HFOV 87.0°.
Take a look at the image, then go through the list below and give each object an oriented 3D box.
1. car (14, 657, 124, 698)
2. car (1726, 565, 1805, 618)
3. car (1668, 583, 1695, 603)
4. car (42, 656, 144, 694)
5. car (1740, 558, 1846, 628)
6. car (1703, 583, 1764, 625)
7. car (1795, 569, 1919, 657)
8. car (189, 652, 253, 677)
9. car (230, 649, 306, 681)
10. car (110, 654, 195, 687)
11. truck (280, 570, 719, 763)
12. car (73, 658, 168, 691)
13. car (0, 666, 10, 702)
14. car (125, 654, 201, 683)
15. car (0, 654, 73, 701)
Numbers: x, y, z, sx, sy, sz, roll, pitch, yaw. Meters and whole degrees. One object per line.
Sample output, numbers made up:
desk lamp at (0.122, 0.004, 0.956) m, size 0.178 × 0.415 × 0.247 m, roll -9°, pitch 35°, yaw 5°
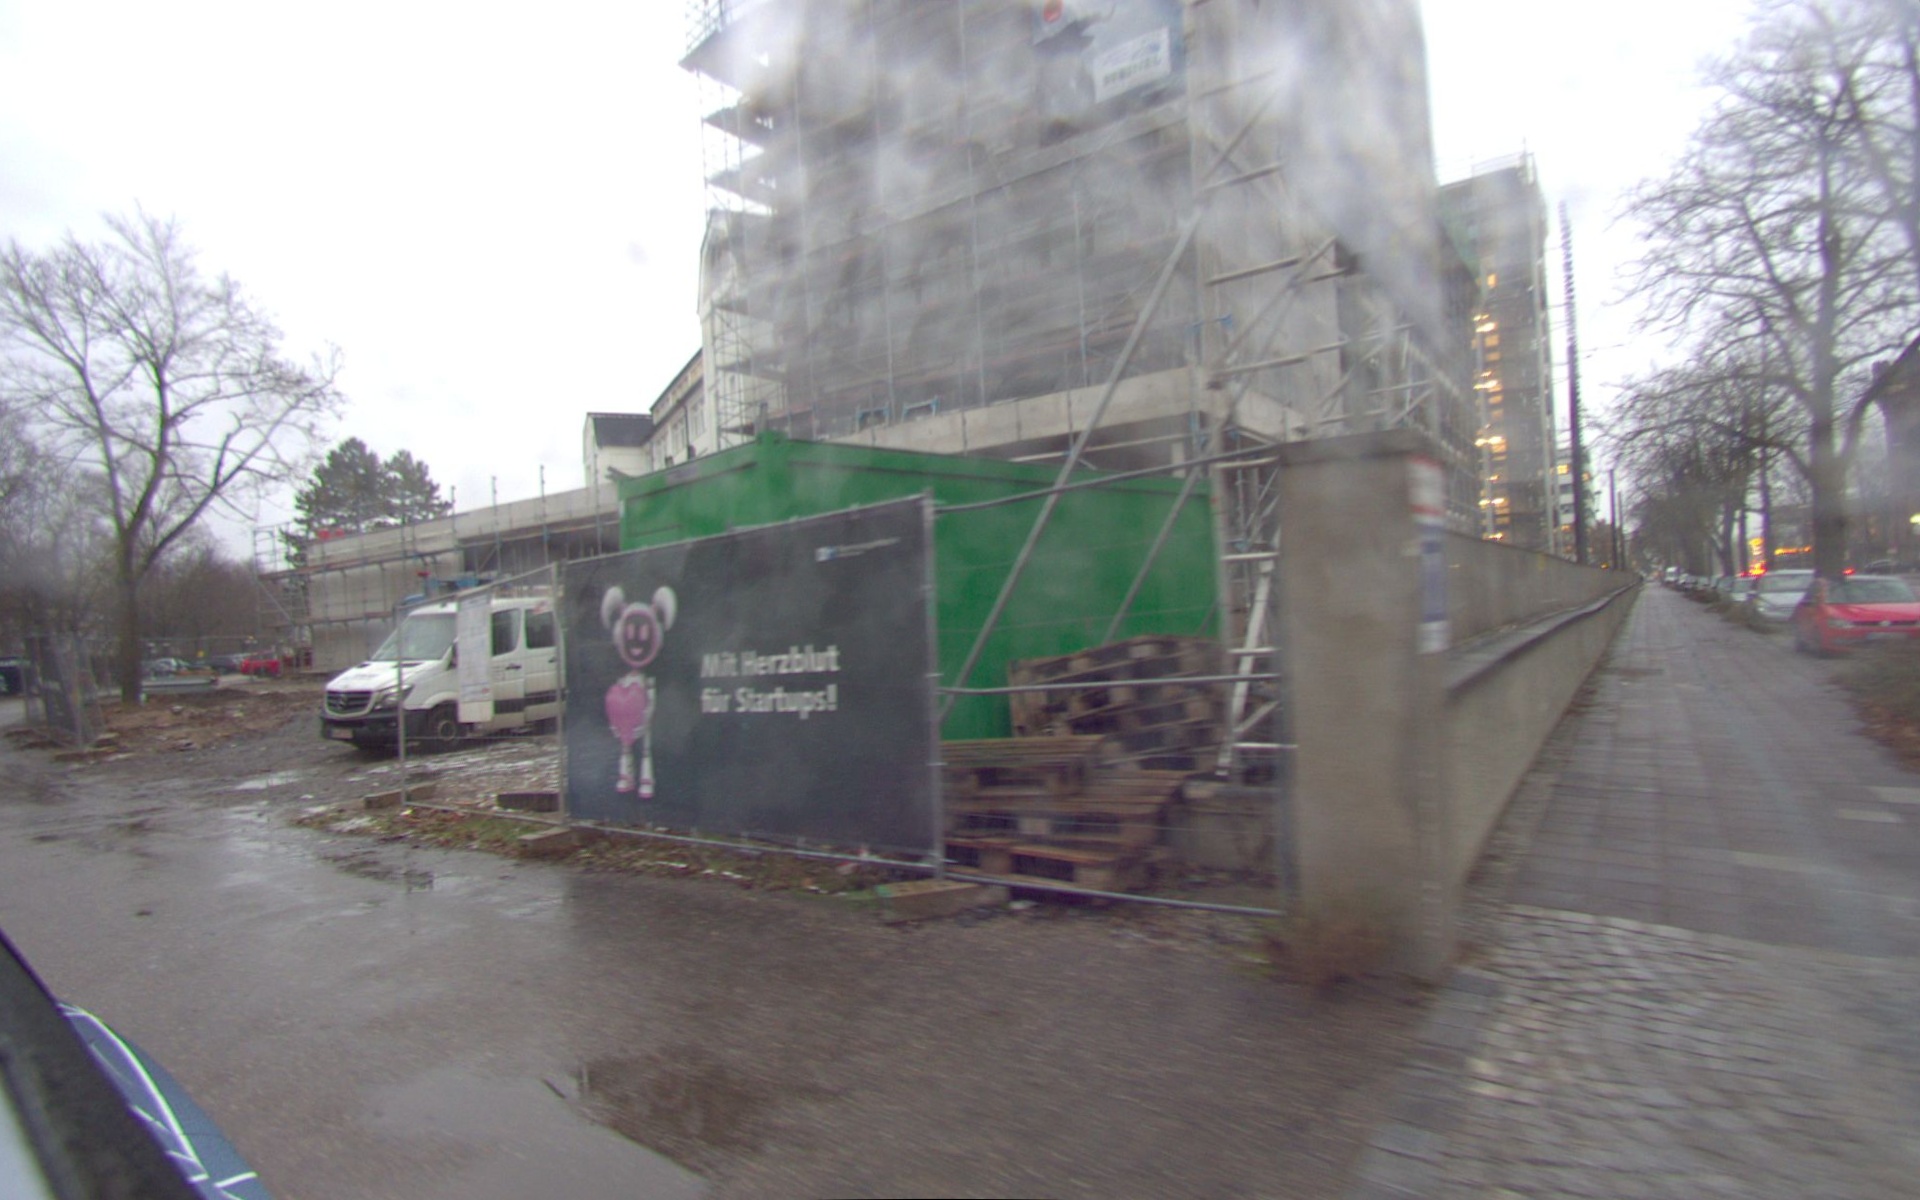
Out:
car at (-46.591, 4.024, 53.004) m, size 3.931 × 1.809 × 1.808 m, roll -2°, pitch -1°, yaw -25°
car at (27.072, -0.269, 34.132) m, size 1.864 × 1.606 × 3.951 m, roll -3°, pitch -1°, yaw 36°
car at (61.010, -0.614, 85.552) m, size 1.751 × 1.596 × 3.691 m, roll -3°, pitch -1°, yaw 36°
car at (-48.042, 4.152, 56.156) m, size 3.931 × 1.809 × 1.808 m, roll -2°, pitch -1°, yaw -25°
car at (20.918, -0.165, 25.540) m, size 1.751 × 1.596 × 3.691 m, roll -3°, pitch -1°, yaw 36°
car at (31.959, 0.163, 41.904) m, size 1.864 × 1.606 × 3.951 m, roll -3°, pitch -1°, yaw 36°
car at (16.240, 0.205, 18.079) m, size 1.751 × 1.397 × 3.691 m, roll -3°, pitch -1°, yaw 36°
car at (-60.272, 5.226, 82.580) m, size 3.931 × 1.809 × 1.808 m, roll -2°, pitch -1°, yaw -25°
car at (-37.659, 3.514, 55.163) m, size 3.253 × 1.535 × 1.709 m, roll -2°, pitch -1°, yaw -29°
car at (-52.137, 4.520, 65.408) m, size 3.931 × 1.809 × 1.808 m, roll -2°, pitch -1°, yaw -25°
truck at (-7.361, 0.867, 17.443) m, size 2.122 × 2.607 × 7.017 m, roll -3°, pitch 0°, yaw 27°
car at (-49.951, 4.388, 60.315) m, size 3.931 × 1.674 × 2.006 m, roll -2°, pitch -1°, yaw -25°
car at (-41.464, 3.522, 40.878) m, size 4.109 × 1.489 × 2.006 m, roll -2°, pitch -4°, yaw -28°
car at (-56.511, 4.843, 71.850) m, size 3.931 × 1.809 × 1.808 m, roll -2°, pitch -1°, yaw -25°
car at (-43.631, 3.596, 46.463) m, size 3.931 × 2.007 × 2.006 m, roll -2°, pitch -1°, yaw -25°
